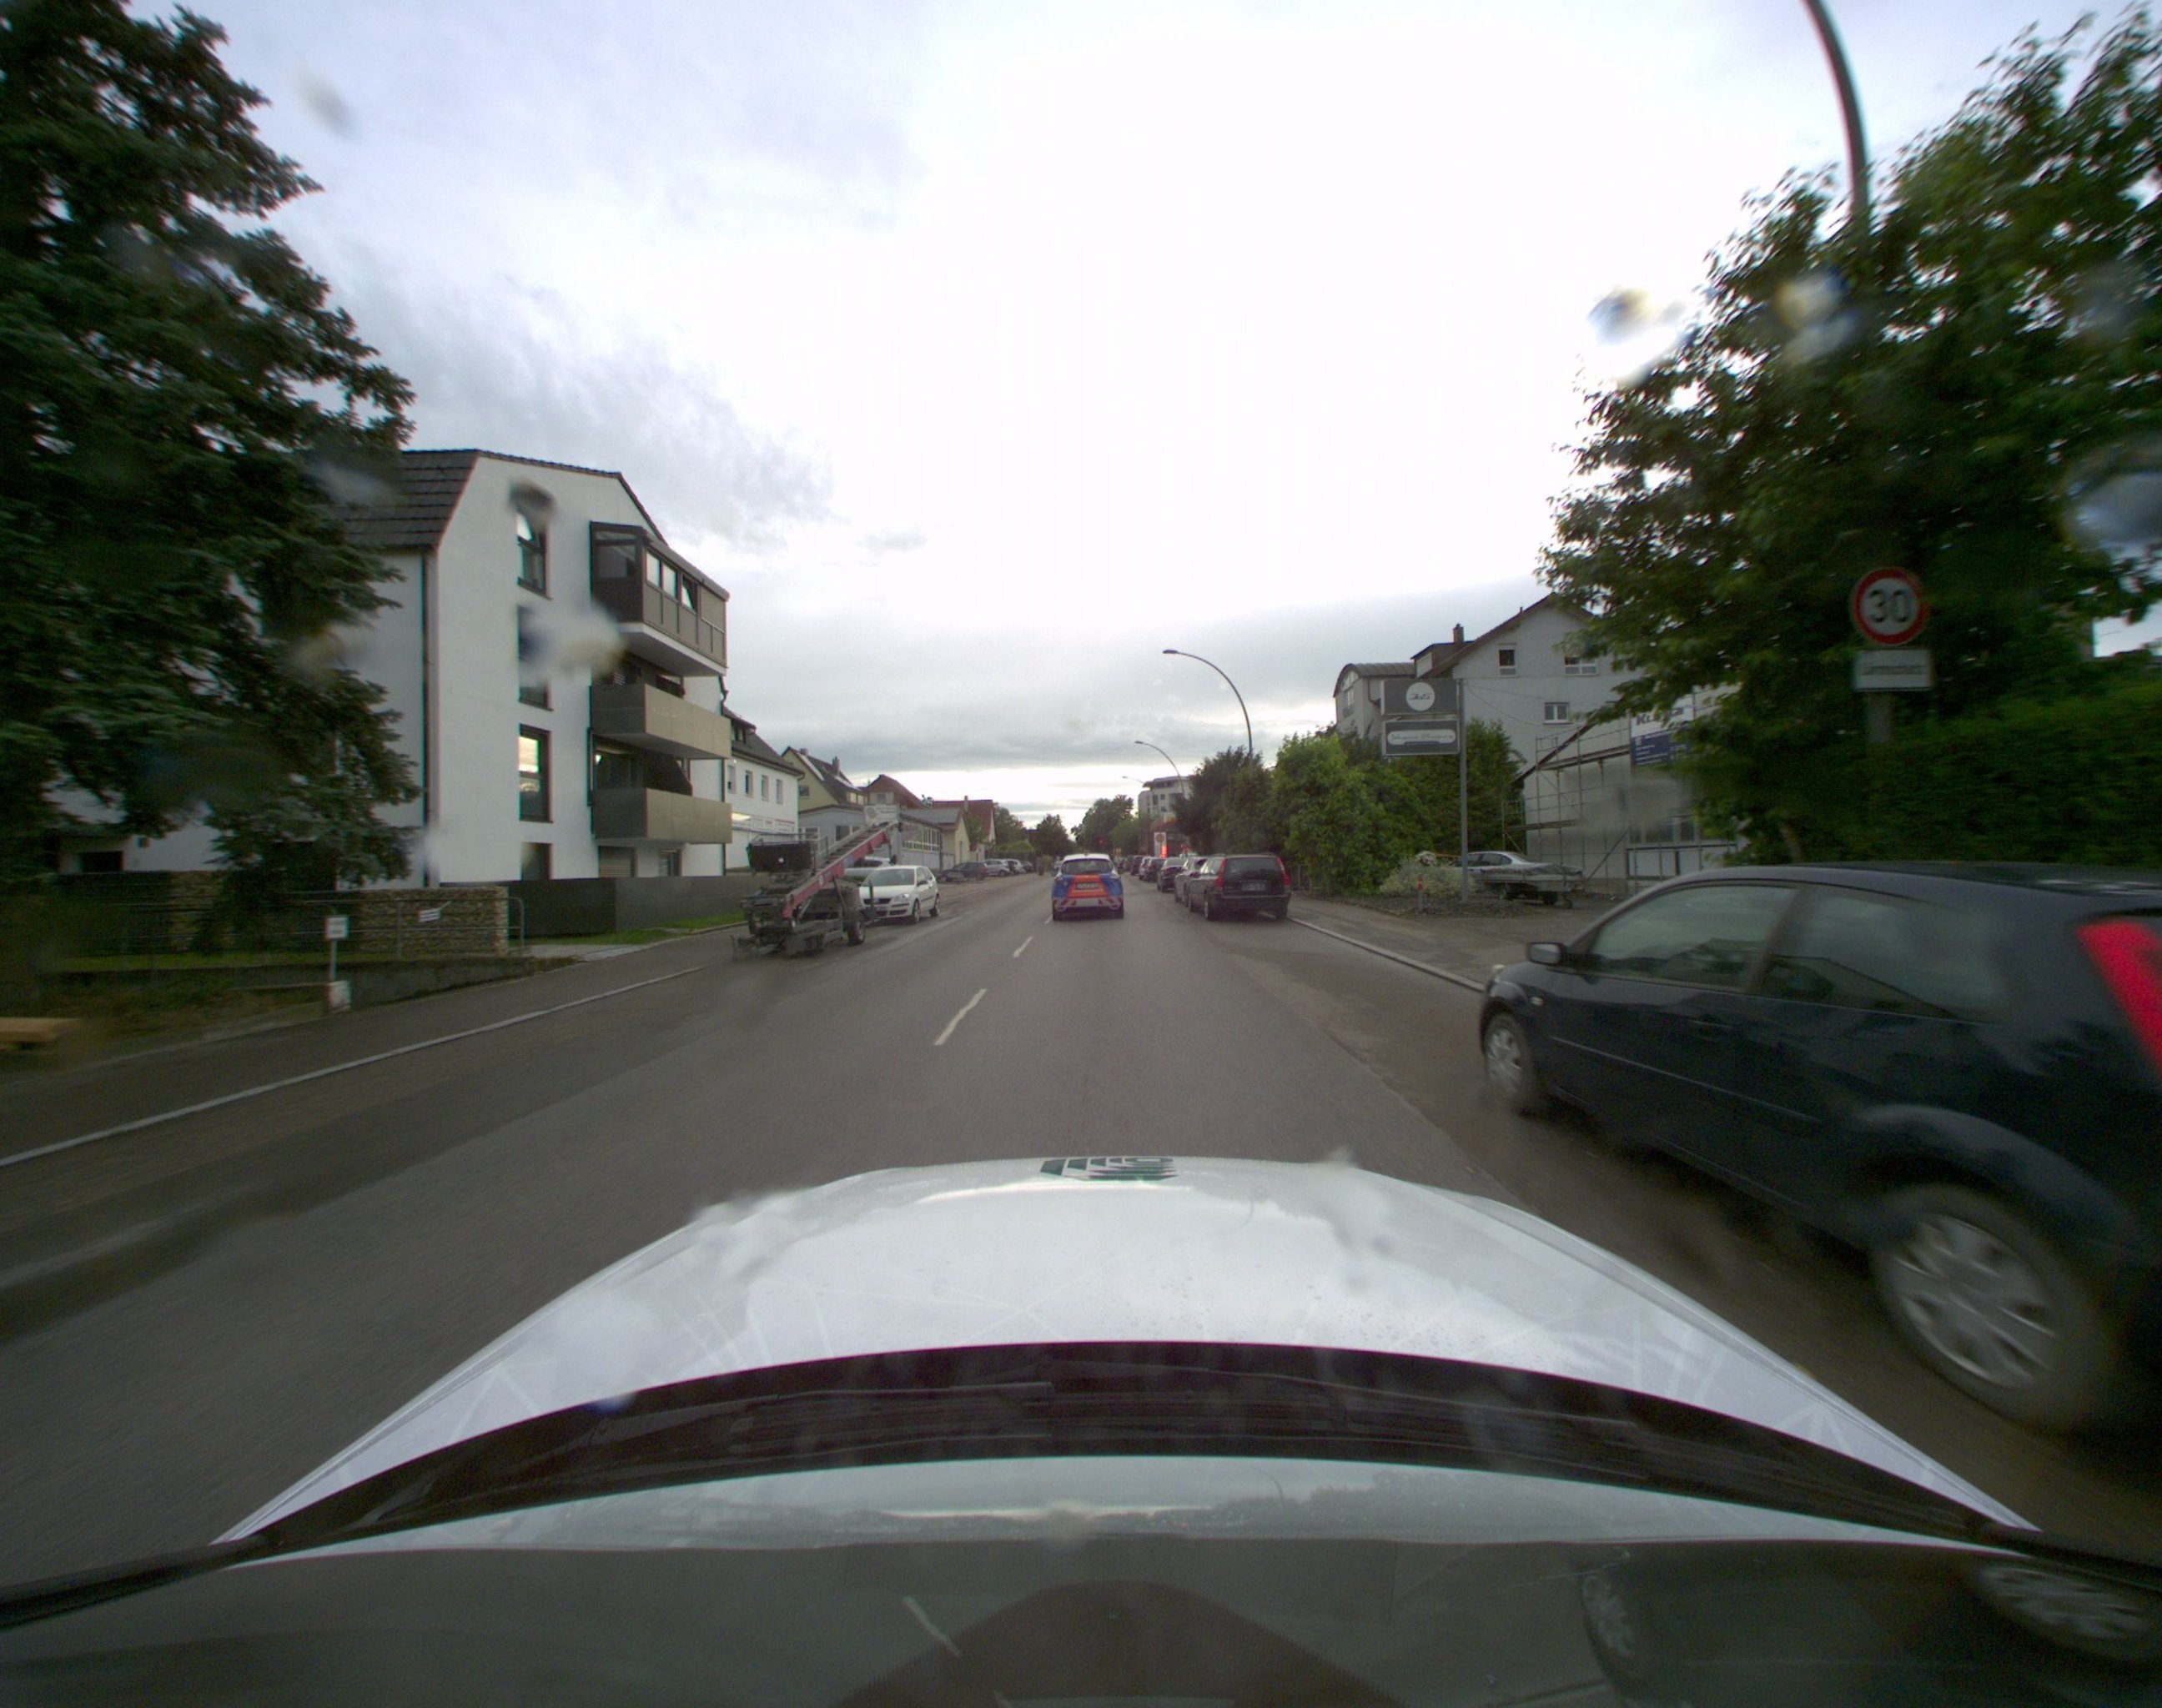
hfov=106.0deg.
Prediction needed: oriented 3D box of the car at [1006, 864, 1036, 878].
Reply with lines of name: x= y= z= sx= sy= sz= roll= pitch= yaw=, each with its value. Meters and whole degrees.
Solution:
car: x=-6.769 y=1.885 z=91.804 sx=3.274 sy=1.448 sz=1.478 roll=-2 pitch=0 yaw=-3

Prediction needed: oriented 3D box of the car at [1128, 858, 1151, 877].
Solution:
car: x=4.896 y=1.114 z=68.096 sx=1.644 sy=1.522 sz=3.999 roll=0 pitch=-1 yaw=0

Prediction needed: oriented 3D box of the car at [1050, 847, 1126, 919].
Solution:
car: x=0.192 y=0.694 z=20.525 sx=1.725 sy=1.631 sz=3.495 roll=-1 pitch=-1 yaw=1

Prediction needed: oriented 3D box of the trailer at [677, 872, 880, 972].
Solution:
trailer: x=-5.150 y=1.076 z=14.735 sx=1.712 sy=1.260 sz=5.244 roll=0 pitch=1 yaw=0

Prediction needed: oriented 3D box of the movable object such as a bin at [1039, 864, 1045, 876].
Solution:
movable object such as a bin: x=-4.133 y=1.679 z=85.787 sx=0.577 sy=1.204 sz=0.319 roll=0 pitch=-1 yaw=1

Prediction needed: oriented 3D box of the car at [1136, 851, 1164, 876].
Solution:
car: x=4.340 y=0.638 z=51.978 sx=1.476 sy=1.555 sz=3.860 roll=1 pitch=-1 yaw=0

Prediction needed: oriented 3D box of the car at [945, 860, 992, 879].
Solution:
car: x=-8.962 y=1.226 z=64.982 sx=3.572 sy=1.526 sz=1.653 roll=0 pitch=-1 yaw=-3

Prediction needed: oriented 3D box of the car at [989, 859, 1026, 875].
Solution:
car: x=-7.582 y=1.318 z=83.785 sx=3.645 sy=1.483 sz=1.478 roll=-2 pitch=0 yaw=-3

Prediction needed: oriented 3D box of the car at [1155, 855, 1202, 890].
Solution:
car: x=3.936 y=0.738 z=33.322 sx=1.599 sy=1.374 sz=4.089 roll=0 pitch=-1 yaw=2

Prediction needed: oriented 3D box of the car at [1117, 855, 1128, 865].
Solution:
car: x=7.587 y=1.116 z=149.155 sx=1.644 sy=1.653 sz=3.999 roll=0 pitch=-1 yaw=0

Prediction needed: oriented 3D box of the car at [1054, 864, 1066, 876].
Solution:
car: x=-2.587 y=1.940 z=100.658 sx=1.382 sy=1.483 sz=3.783 roll=-1 pitch=-1 yaw=0

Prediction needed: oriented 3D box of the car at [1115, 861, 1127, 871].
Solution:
car: x=5.956 y=1.780 z=121.804 sx=1.644 sy=1.483 sz=3.999 roll=0 pitch=-1 yaw=0

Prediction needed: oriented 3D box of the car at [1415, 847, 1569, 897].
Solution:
car: x=12.606 y=0.540 z=25.141 sx=1.549 sy=1.399 sz=3.907 roll=-1 pitch=0 yaw=-43

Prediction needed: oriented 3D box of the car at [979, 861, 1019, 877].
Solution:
car: x=-8.044 y=1.475 z=79.916 sx=3.750 sy=1.483 sz=1.653 roll=0 pitch=-1 yaw=-3

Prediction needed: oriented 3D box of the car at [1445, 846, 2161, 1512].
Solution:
car: x=3.131 y=0.718 z=3.543 sx=1.481 sy=1.439 sz=3.808 roll=1 pitch=0 yaw=1

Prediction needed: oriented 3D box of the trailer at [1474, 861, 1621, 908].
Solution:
trailer: x=11.569 y=0.720 z=20.497 sx=1.533 sy=1.059 sz=3.908 roll=0 pitch=-1 yaw=2

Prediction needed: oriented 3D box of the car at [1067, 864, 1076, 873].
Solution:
car: x=-1.373 y=2.047 z=119.042 sx=1.147 sy=1.232 sz=3.371 roll=-2 pitch=0 yaw=0

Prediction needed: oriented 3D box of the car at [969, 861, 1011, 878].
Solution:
car: x=-8.409 y=1.449 z=75.558 sx=3.750 sy=1.576 sz=1.653 roll=0 pitch=-1 yaw=-3

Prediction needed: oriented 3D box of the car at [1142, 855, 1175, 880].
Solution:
car: x=4.436 y=0.769 z=47.018 sx=1.644 sy=1.335 sz=4.001 roll=-1 pitch=0 yaw=1

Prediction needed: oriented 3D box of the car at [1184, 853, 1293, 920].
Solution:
car: x=3.640 y=0.724 z=19.604 sx=1.706 sy=1.438 sz=4.524 roll=0 pitch=-1 yaw=-1

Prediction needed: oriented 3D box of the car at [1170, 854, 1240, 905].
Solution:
car: x=3.645 y=0.714 z=24.447 sx=1.534 sy=1.429 sz=3.750 roll=0 pitch=0 yaw=0

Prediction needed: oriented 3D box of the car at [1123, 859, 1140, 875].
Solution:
car: x=5.594 y=1.420 z=89.863 sx=1.644 sy=1.672 sz=3.999 roll=0 pitch=-1 yaw=0

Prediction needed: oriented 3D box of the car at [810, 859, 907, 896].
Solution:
car: x=-9.683 y=1.035 z=35.675 sx=3.747 sy=1.568 sz=1.655 roll=0 pitch=-1 yaw=0

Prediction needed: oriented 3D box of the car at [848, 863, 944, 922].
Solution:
car: x=-4.886 y=0.974 z=22.060 sx=1.551 sy=1.433 sz=4.001 roll=0 pitch=-1 yaw=2

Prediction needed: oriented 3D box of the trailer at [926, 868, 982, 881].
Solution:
trailer: x=-9.717 y=1.571 z=62.521 sx=4.009 sy=0.995 sz=1.655 roll=0 pitch=-1 yaw=0
